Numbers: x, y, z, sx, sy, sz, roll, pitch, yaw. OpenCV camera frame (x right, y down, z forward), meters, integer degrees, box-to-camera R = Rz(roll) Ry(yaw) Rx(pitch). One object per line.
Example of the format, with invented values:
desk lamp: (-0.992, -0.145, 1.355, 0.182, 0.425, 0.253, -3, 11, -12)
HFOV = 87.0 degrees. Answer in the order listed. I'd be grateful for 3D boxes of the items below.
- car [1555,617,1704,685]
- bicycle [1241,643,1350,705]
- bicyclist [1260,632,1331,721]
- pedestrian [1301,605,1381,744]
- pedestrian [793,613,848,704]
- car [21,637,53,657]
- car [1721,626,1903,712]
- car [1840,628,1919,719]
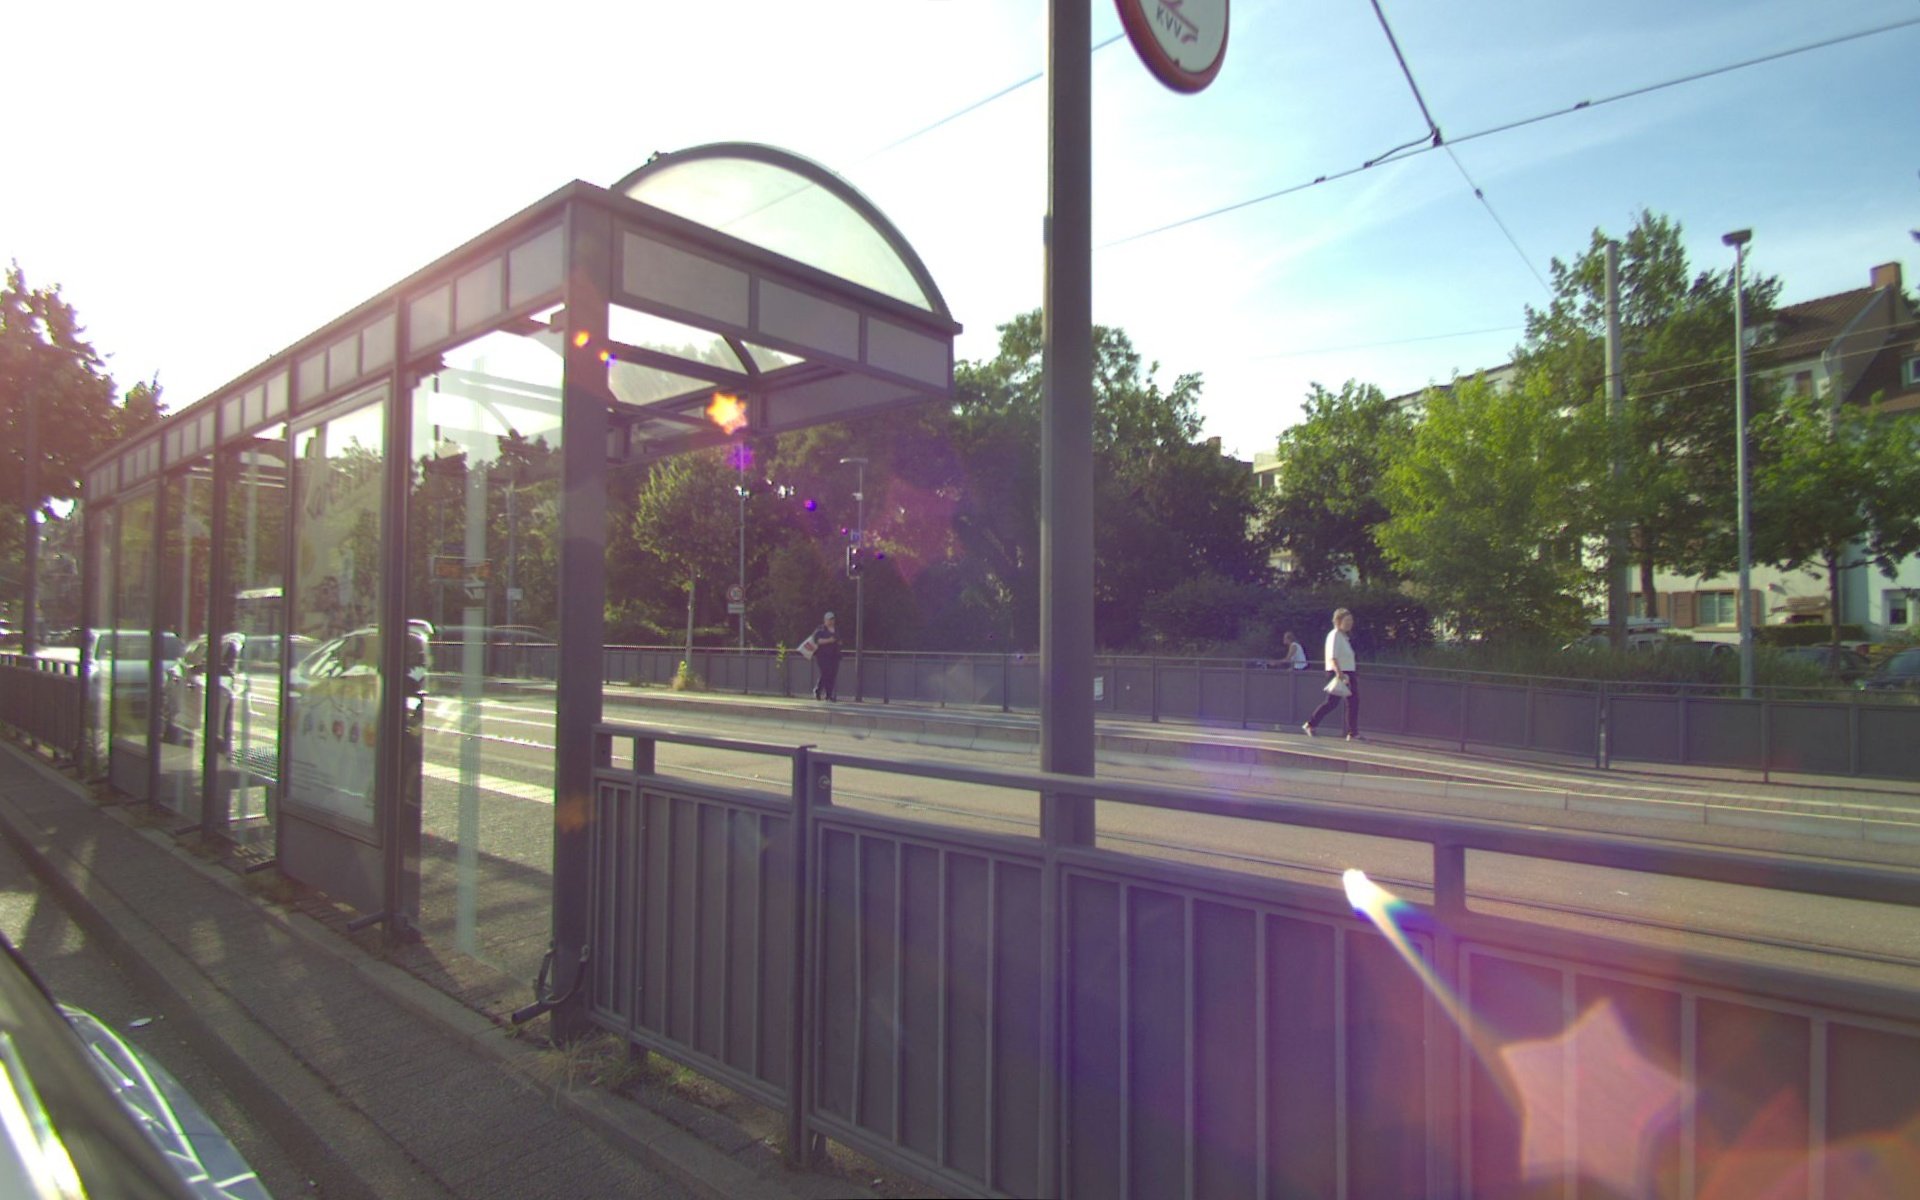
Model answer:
car: (18.455, 1.393, 27.880, 3.931, 1.767, 1.860, 2, -3, -30)
bicycle: (6.512, 1.410, 19.727, 1.864, 1.118, 0.718, -2, -1, 42)
bicyclist: (6.527, 1.468, 19.712, 1.071, 1.636, 0.697, -2, -1, 42)
pedestrian: (4.706, 0.904, 12.505, 0.727, 1.640, 0.699, -2, -3, 41)
pedestrian: (-2.567, 1.066, 18.619, 0.689, 1.640, 0.727, -2, -3, 41)
car: (-95.952, 4.862, 105.211, 3.997, 2.029, 1.973, -2, -3, 41)
car: (19.000, 1.488, 22.562, 3.931, 1.767, 1.860, 2, -3, -30)
car: (20.211, 1.494, 20.909, 3.931, 1.767, 1.860, 2, -3, -30)
